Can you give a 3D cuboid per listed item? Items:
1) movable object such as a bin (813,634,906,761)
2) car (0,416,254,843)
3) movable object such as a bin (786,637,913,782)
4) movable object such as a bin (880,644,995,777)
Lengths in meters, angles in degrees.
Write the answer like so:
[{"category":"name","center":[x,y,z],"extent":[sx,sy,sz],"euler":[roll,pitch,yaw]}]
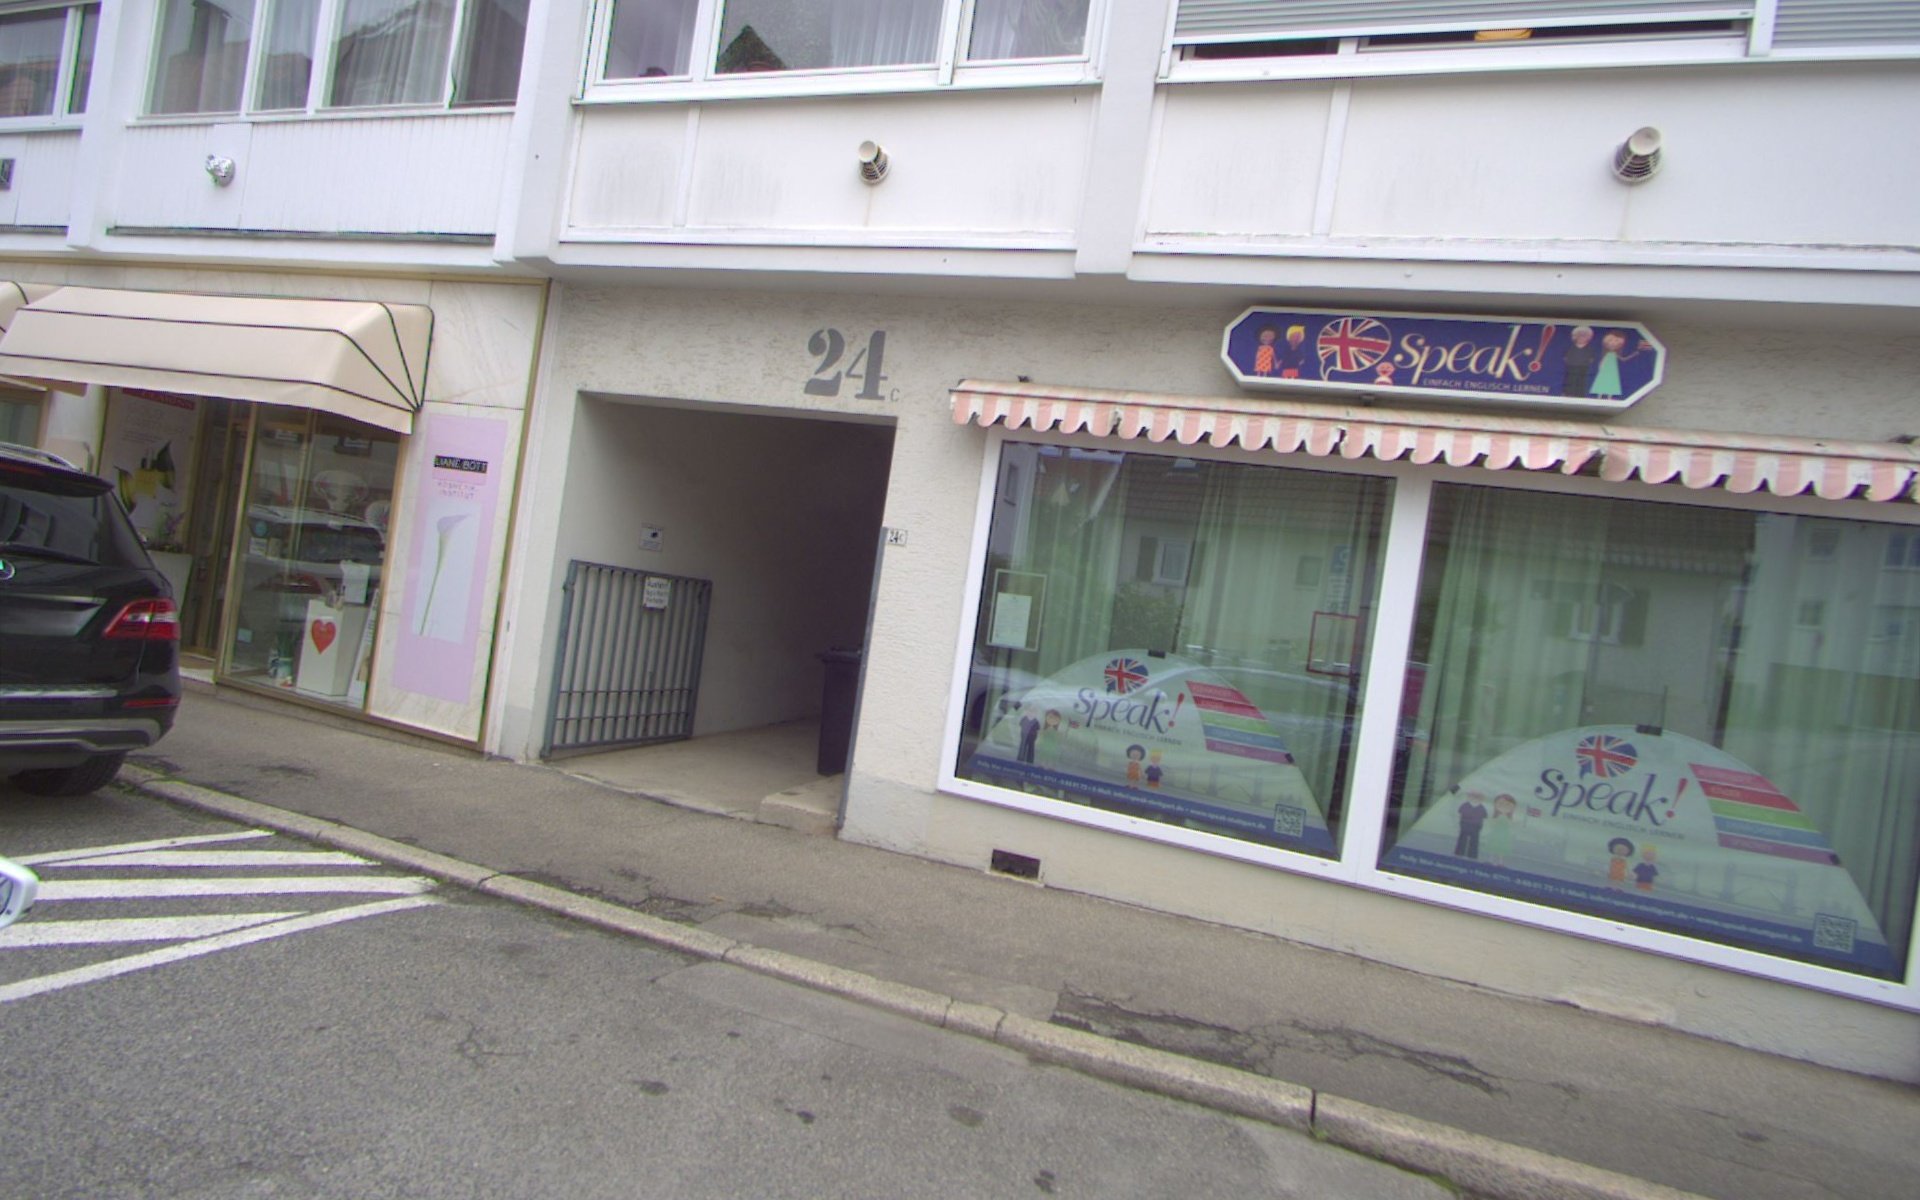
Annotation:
[{"category":"movable object such as a bin","center":[-0.915,0.875,9.217],"extent":[0.524,1.055,0.556],"euler":[8,2,22]},{"category":"car","center":[-6.065,-0.102,4.956],"extent":[4.287,1.799,1.950],"euler":[7,-2,20]},{"category":"movable object such as a bin","center":[-0.912,0.884,8.364],"extent":[0.692,1.055,0.666],"euler":[8,2,24]},{"category":"movable object such as a bin","center":[-0.198,0.976,9.137],"extent":[0.716,1.055,0.666],"euler":[8,2,22]}]
